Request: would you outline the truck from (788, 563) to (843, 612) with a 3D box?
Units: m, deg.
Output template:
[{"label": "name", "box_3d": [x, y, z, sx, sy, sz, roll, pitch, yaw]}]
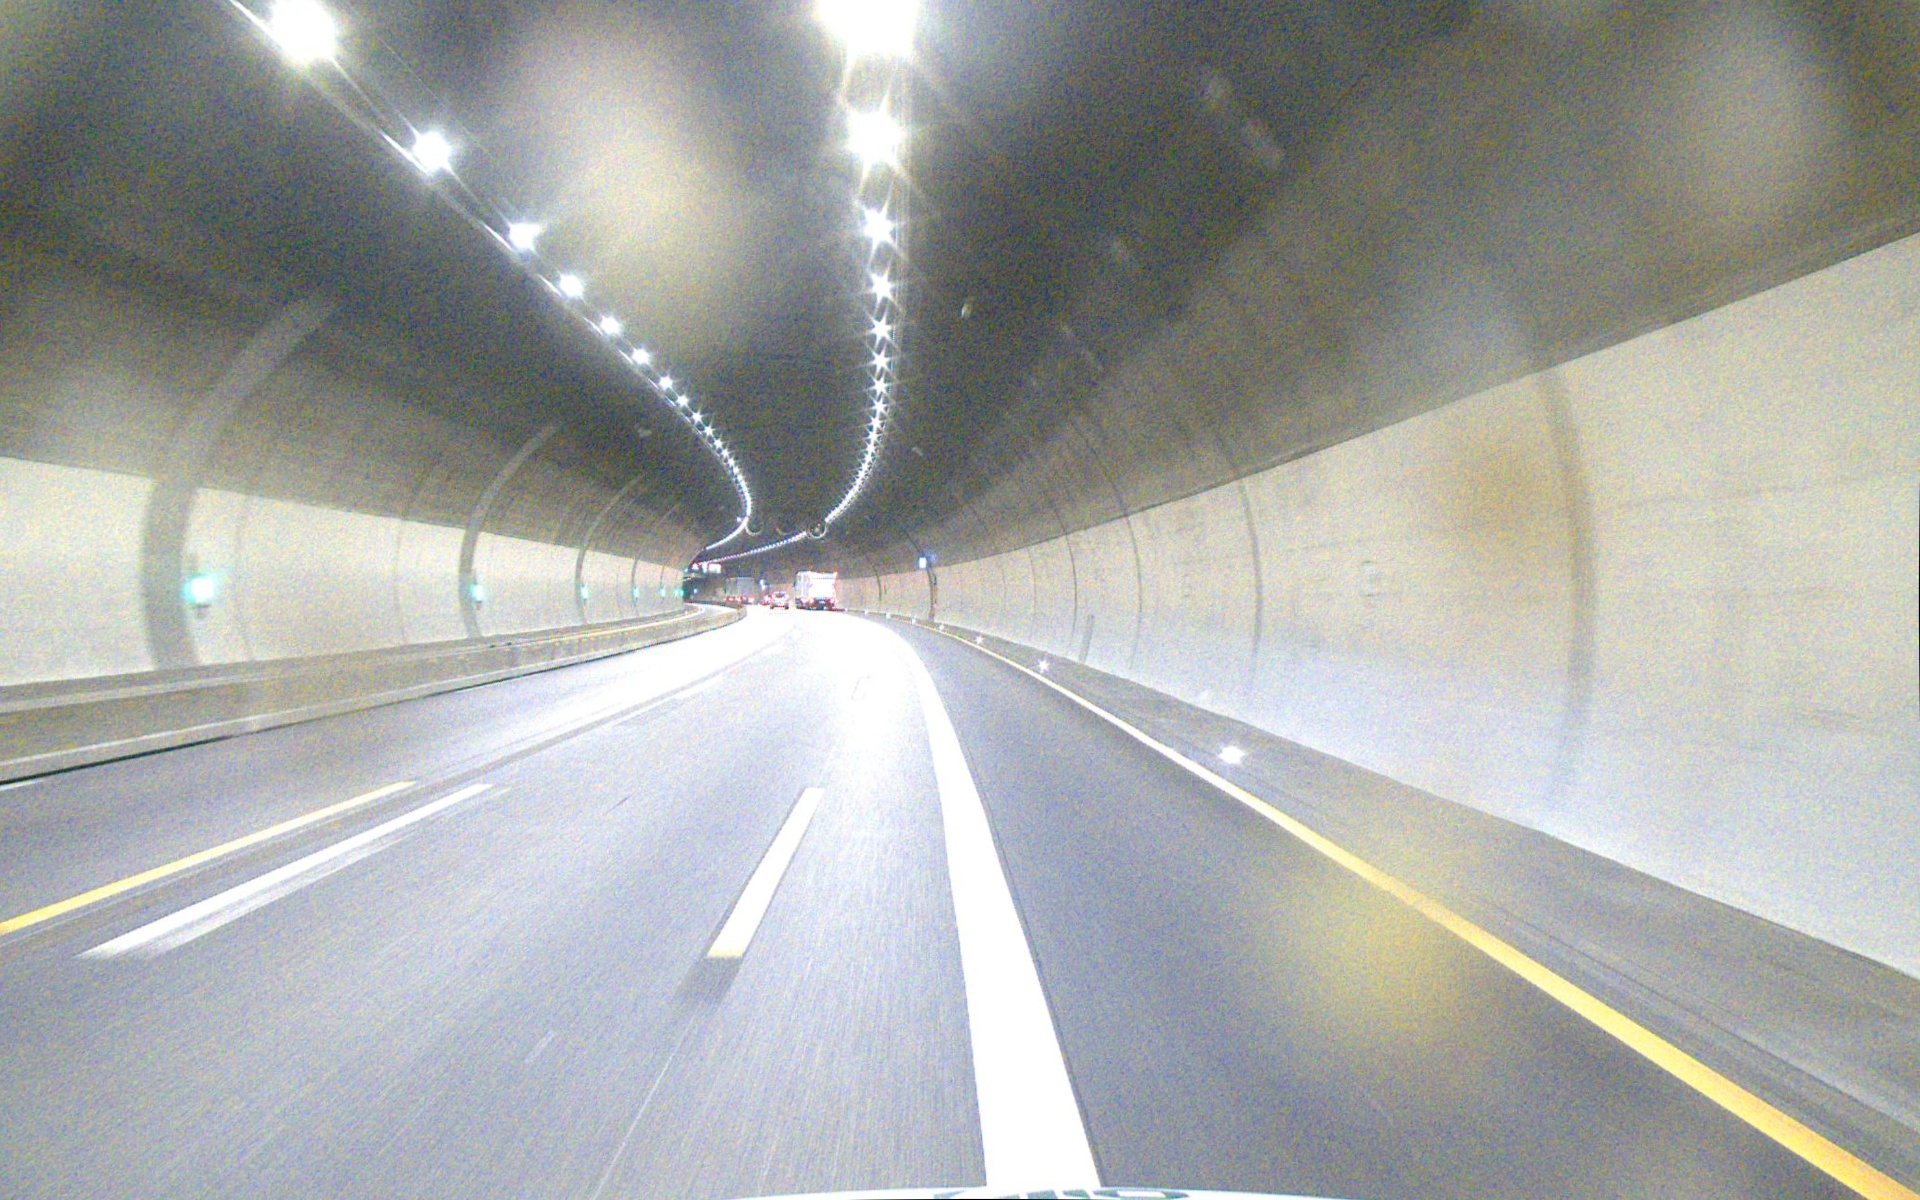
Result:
[{"label": "truck", "box_3d": [-13.711, -1.161, 156.337, 3.415, 4.391, 10.911, 1, 0, -14]}]

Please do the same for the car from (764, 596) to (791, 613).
[{"label": "car", "box_3d": [-17.390, 0.409, 157.227, 1.960, 1.609, 3.984, 2, 0, -15]}]

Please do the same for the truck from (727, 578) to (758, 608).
[{"label": "truck", "box_3d": [-33.432, -1.019, 253.746, 3.415, 4.392, 10.911, 1, 0, -14]}]

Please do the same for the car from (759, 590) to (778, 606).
[{"label": "car", "box_3d": [-24.862, -0.252, 214.533, 1.959, 2.049, 3.988, 1, 0, -12]}]
